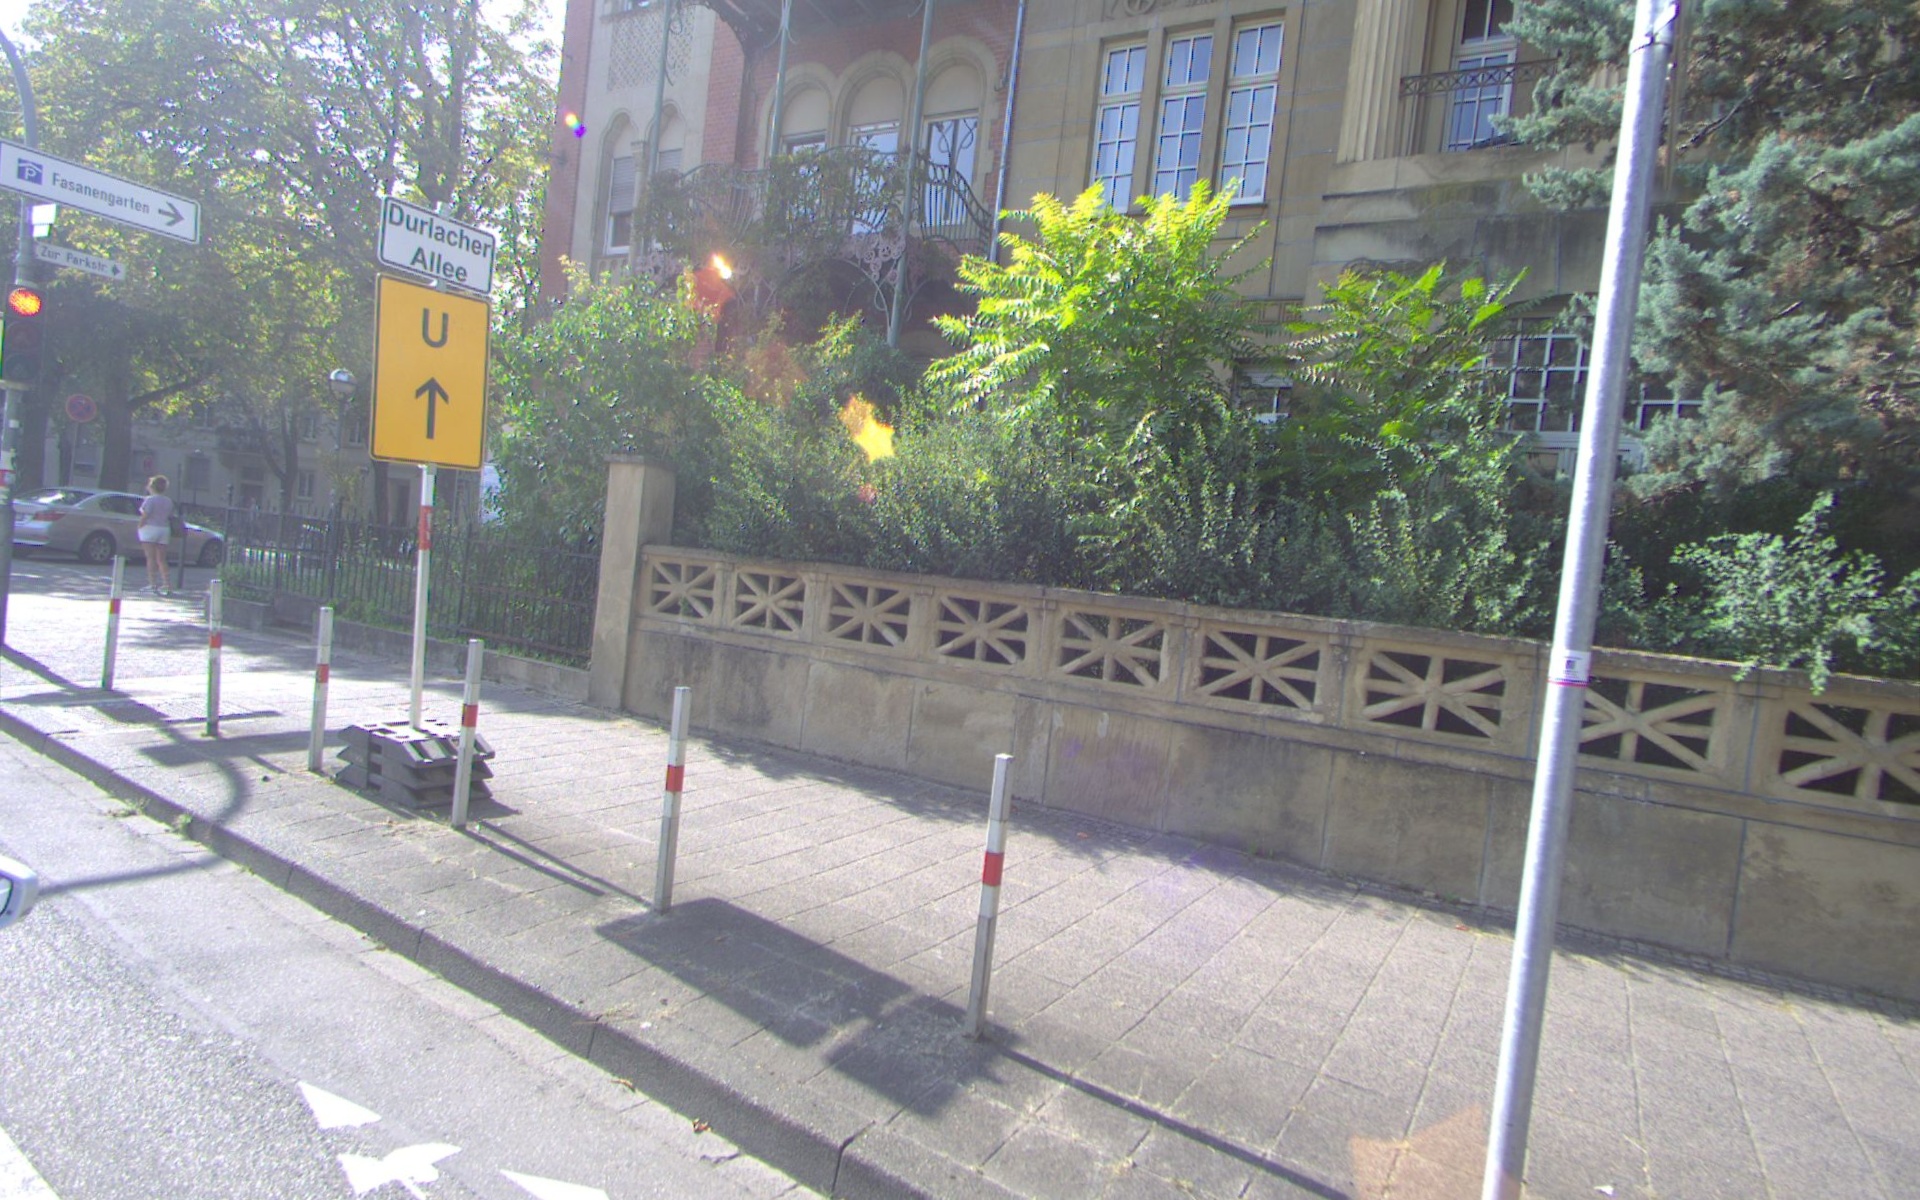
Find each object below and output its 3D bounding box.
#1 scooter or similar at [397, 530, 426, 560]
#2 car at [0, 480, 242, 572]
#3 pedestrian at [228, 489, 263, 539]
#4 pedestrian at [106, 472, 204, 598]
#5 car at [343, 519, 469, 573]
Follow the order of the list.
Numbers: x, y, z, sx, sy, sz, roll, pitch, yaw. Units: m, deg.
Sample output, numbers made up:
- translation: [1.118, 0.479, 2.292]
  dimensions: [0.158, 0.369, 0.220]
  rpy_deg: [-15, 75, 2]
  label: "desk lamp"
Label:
- translation: [-23.712, -2.391, 43.536]
  dimensions: [1.059, 1.214, 0.456]
  rpy_deg: [2, 4, -29]
  label: "scooter or similar"
- translation: [-17.480, -1.438, 20.632]
  dimensions: [1.834, 1.485, 4.786]
  rpy_deg: [4, 0, 3]
  label: "car"
- translation: [-27.229, -3.276, 38.331]
  dimensions: [0.887, 1.763, 0.767]
  rpy_deg: [5, 2, -41]
  label: "pedestrian"
- translation: [-11.988, -0.950, 14.987]
  dimensions: [0.757, 1.753, 0.752]
  rpy_deg: [7, 2, 20]
  label: "pedestrian"
- translation: [-20.391, -1.993, 37.022]
  dimensions: [4.069, 1.447, 1.757]
  rpy_deg: [7, 1, 20]
  label: "car"
